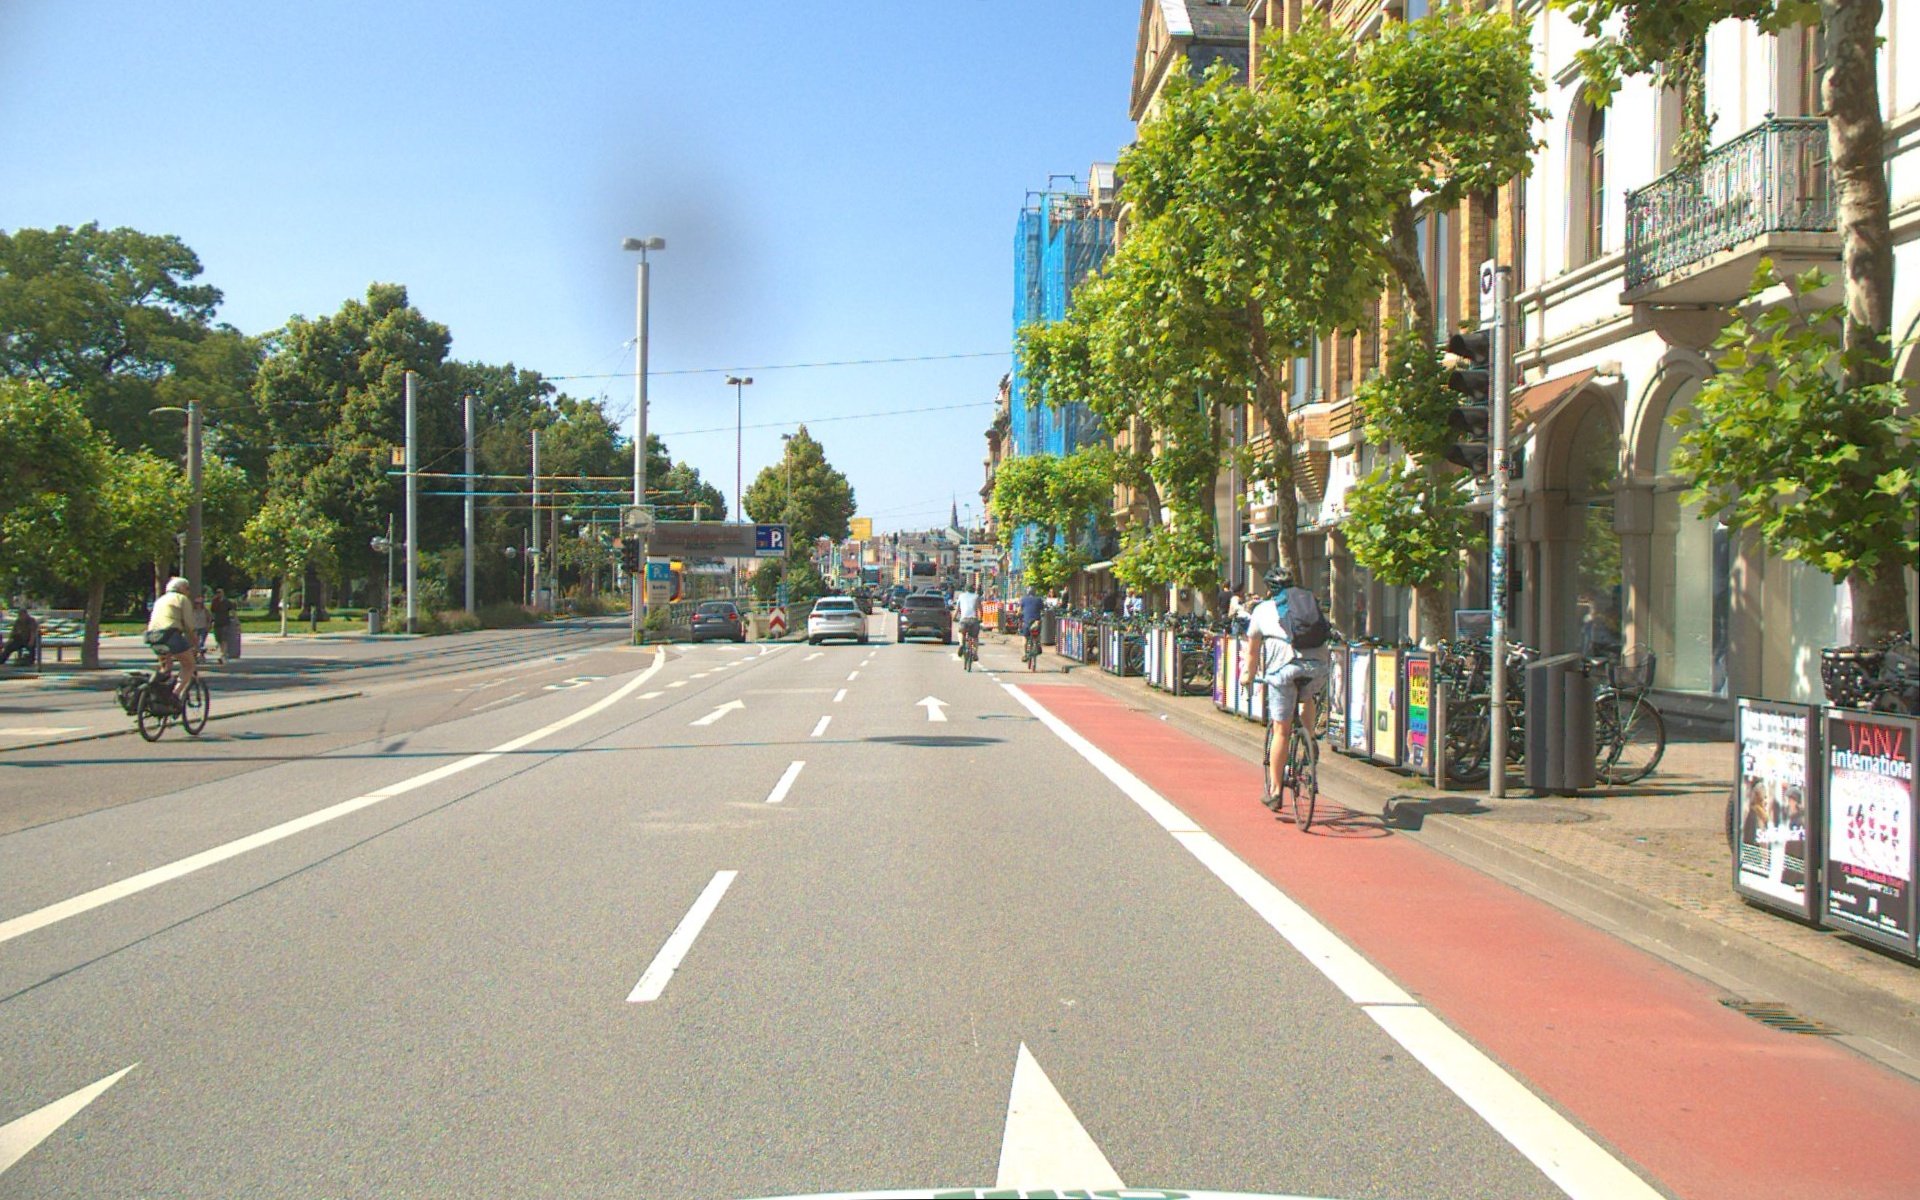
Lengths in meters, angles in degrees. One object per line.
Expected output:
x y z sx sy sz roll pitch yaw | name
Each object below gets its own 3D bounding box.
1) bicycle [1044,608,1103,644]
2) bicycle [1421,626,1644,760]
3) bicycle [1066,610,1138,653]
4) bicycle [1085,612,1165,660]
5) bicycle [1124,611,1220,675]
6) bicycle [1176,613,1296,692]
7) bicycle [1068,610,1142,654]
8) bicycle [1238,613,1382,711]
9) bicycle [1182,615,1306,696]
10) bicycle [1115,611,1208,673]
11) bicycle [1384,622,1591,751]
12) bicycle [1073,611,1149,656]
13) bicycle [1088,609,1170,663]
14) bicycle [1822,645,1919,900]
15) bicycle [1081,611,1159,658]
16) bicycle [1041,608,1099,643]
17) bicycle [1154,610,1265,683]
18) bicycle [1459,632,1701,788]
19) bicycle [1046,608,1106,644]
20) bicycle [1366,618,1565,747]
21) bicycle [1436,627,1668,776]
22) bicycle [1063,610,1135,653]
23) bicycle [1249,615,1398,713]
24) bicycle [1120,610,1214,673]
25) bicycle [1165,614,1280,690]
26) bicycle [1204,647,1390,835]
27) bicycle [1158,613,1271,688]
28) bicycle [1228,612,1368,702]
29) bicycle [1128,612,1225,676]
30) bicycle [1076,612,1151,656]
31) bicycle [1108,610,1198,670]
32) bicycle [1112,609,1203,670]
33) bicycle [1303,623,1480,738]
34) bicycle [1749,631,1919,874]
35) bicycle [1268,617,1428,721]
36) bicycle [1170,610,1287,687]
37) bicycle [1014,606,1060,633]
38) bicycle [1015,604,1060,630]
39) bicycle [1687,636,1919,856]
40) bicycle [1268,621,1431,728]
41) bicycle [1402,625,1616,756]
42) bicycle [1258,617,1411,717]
3.408 0.773 49.633 1.718 1.036 0.482 1 0 -4 | bicycle
4.814 0.780 13.940 1.718 1.087 0.482 1 0 -4 | bicycle
3.494 0.784 40.830 1.718 1.036 0.482 1 0 -4 | bicycle
3.688 0.802 36.976 1.718 1.036 0.482 1 0 -4 | bicycle
3.968 0.808 31.021 1.718 1.167 0.482 1 0 -4 | bicycle
4.164 0.785 25.023 1.718 1.167 0.482 1 0 -4 | bicycle
3.524 0.785 40.268 1.718 1.036 0.482 1 0 -4 | bicycle
4.435 0.779 20.979 1.718 1.208 0.482 1 0 -4 | bicycle
4.190 0.816 24.438 1.718 1.167 0.499 1 0 -4 | bicycle
3.895 0.804 32.015 1.718 1.167 0.482 1 0 -4 | bicycle
4.751 0.774 14.937 1.718 1.124 0.482 1 0 -4 | bicycle
3.575 0.789 39.216 1.718 1.036 0.482 1 0 -4 | bicycle
3.715 0.792 36.365 1.718 1.167 0.482 1 0 -4 | bicycle
5.125 0.814 7.975 1.718 1.167 0.482 1 0 -4 | bicycle
3.642 0.789 37.746 1.718 1.036 0.482 1 0 -4 | bicycle
3.381 0.776 50.804 1.718 1.036 0.556 1 0 -4 | bicycle
4.079 0.753 27.049 1.718 1.167 0.482 1 0 -4 | bicycle
4.823 0.849 12.899 1.718 1.167 0.482 1 0 -4 | bicycle
3.438 0.775 49.117 1.718 1.036 0.482 1 0 -4 | bicycle
4.711 0.761 15.459 1.718 1.167 0.482 1 0 -4 | bicycle
4.784 0.813 13.407 1.718 1.167 0.482 1 0 -4 | bicycle
3.476 0.784 41.416 1.718 1.036 0.482 1 0 -4 | bicycle
4.460 0.782 20.323 1.718 1.167 0.482 1 0 -4 | bicycle
3.939 0.785 31.520 1.718 1.167 0.482 1 -1 -4 | bicycle
4.119 0.812 26.033 1.718 1.167 0.482 1 0 -4 | bicycle
2.313 0.930 11.632 0.719 1.112 2.129 2 0 -4 | bicycle
4.079 0.810 26.539 1.718 1.167 0.482 1 0 -4 | bicycle
4.393 0.740 21.554 1.718 1.143 0.482 1 0 -4 | bicycle
3.991 0.809 30.536 1.718 1.167 0.482 1 0 -4 | bicycle
3.578 0.788 38.514 1.683 1.002 0.482 1 0 -4 | bicycle
3.847 0.802 33.005 1.718 1.167 0.482 1 0 -4 | bicycle
3.880 0.777 32.505 1.718 1.167 0.482 1 0 -4 | bicycle
4.481 0.832 17.204 1.718 1.167 0.482 1 0 -4 | bicycle
5.112 0.784 8.657 1.764 1.215 0.482 1 0 -4 | bicycle
4.502 0.792 19.230 1.718 1.167 0.527 1 0 -4 | bicycle
4.145 0.743 25.542 1.718 1.167 0.482 1 0 -4 | bicycle
2.947 0.743 63.264 1.718 1.036 0.482 1 0 -4 | bicycle
3.051 0.671 65.235 1.718 1.036 0.482 1 0 -4 | bicycle
5.002 0.800 9.183 1.738 1.167 0.482 1 0 -4 | bicycle
4.395 0.833 18.689 1.718 1.167 0.482 1 0 -4 | bicycle
4.778 0.782 14.435 1.718 1.106 0.482 1 0 -4 | bicycle
4.470 0.798 19.782 1.718 1.167 0.482 1 0 -4 | bicycle
